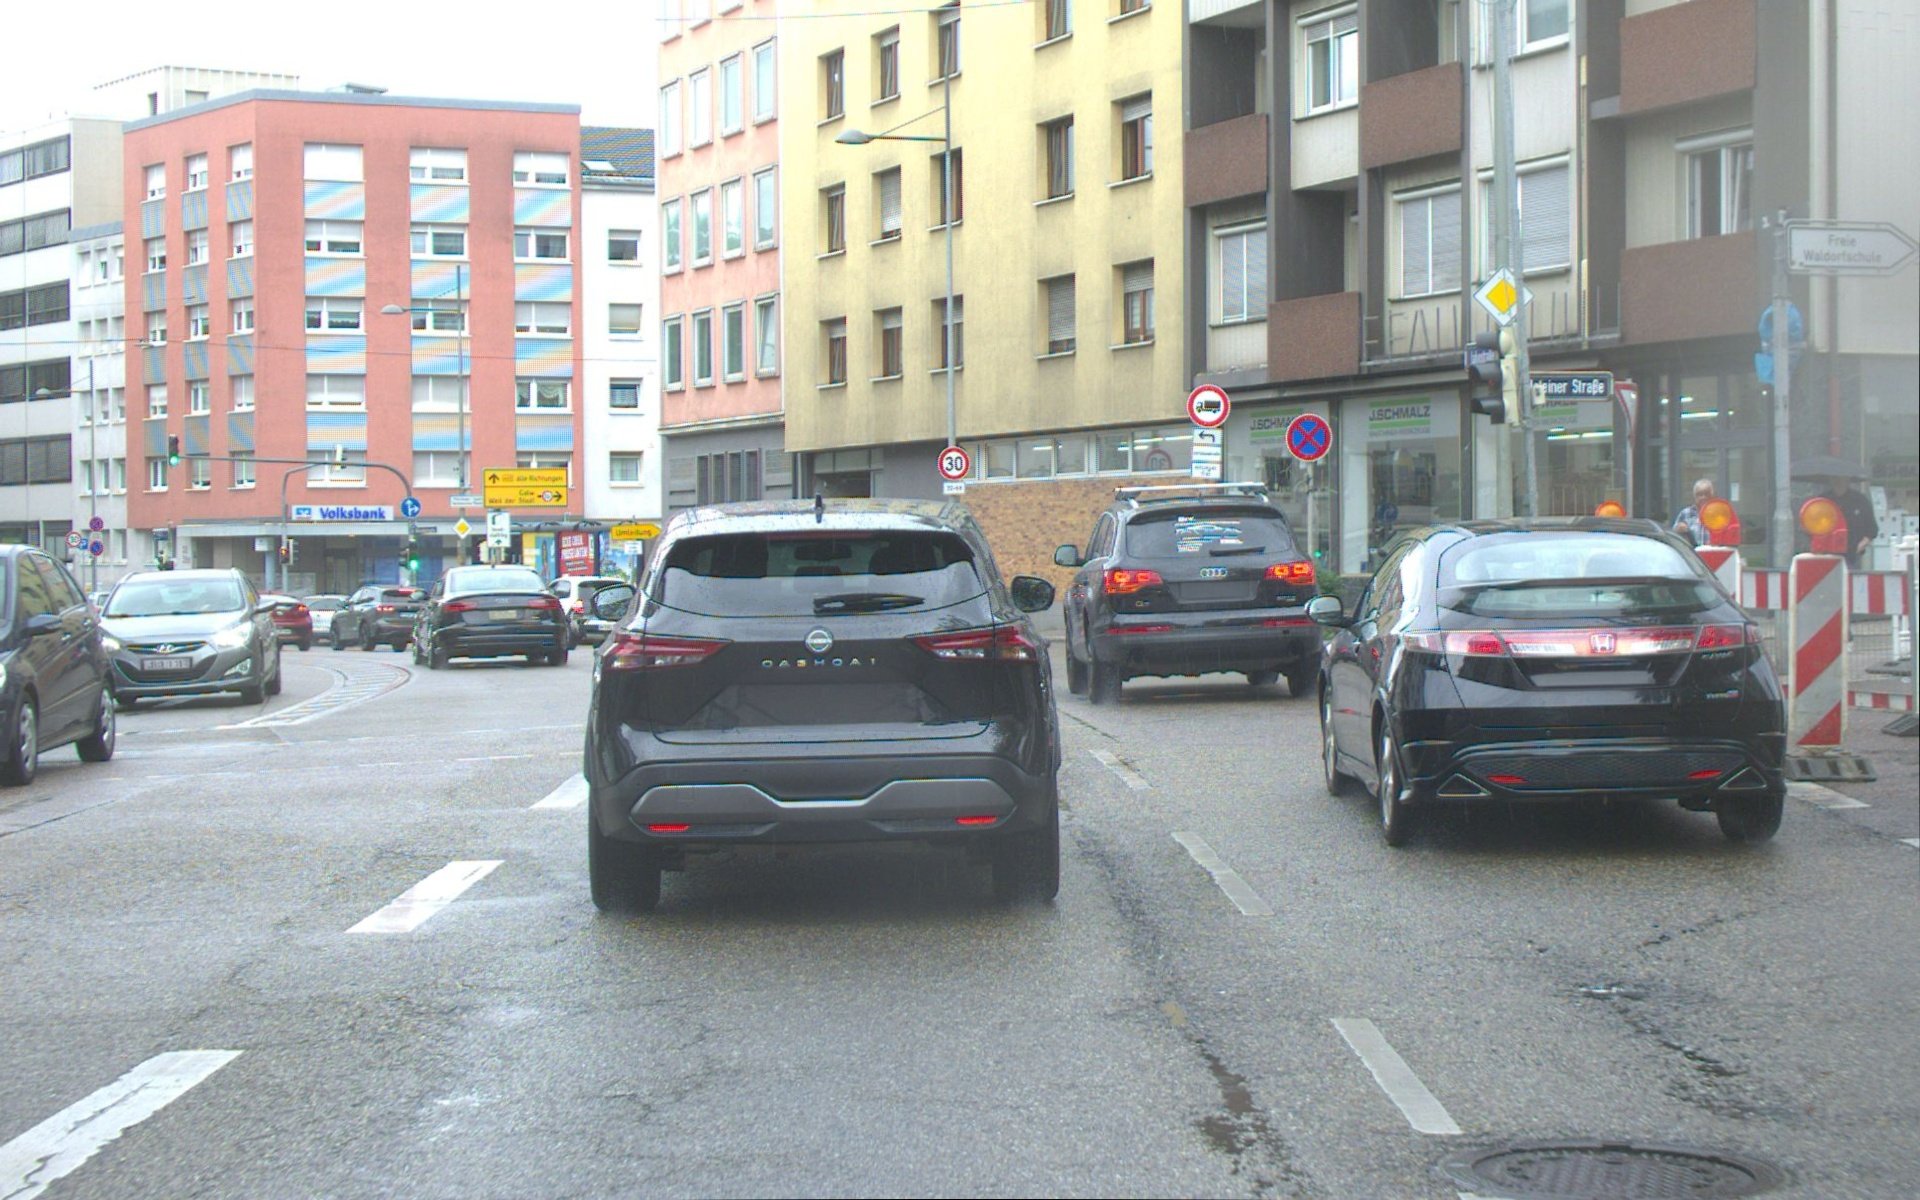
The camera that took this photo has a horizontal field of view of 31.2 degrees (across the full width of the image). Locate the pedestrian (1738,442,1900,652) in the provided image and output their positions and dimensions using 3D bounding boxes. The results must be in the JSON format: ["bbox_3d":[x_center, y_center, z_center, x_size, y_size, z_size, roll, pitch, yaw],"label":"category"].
[{"bbox_3d":[7.851,-0.477,31.428,0.917,1.855,1.031,-1,-1,-44],"label":"pedestrian"}]

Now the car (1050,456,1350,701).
[{"bbox_3d":[1.972,-0.158,29.781,2.021,1.863,4.899,-2,0,-2],"label":"car"}]

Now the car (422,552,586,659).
[{"bbox_3d":[-6.424,0.068,48.075,1.993,1.383,4.501,1,0,-11],"label":"car"}]

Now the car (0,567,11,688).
[{"bbox_3d":[-12.611,0.387,41.454,1.928,1.469,4.605,-3,1,-12],"label":"car"}]

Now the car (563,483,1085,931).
[{"bbox_3d":[-0.581,0.369,14.547,1.894,1.623,4.000,0,1,-2],"label":"car"}]

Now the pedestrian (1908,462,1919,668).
[{"bbox_3d":[9.270,-0.334,31.508,0.657,1.873,0.991,-3,-1,43],"label":"pedestrian"}]

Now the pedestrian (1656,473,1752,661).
[{"bbox_3d":[6.894,-0.297,31.857,0.792,1.682,0.821,-2,-1,13],"label":"pedestrian"}]

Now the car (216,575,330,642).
[{"bbox_3d":[-16.531,0.197,82.605,1.993,1.525,4.001,1,0,-21],"label":"car"}]

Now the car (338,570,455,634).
[{"bbox_3d":[-14.079,0.041,85.782,1.993,1.514,4.001,1,0,-22],"label":"car"}]

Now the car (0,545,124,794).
[{"bbox_3d":[-6.971,0.414,23.262,1.829,1.538,4.284,-1,1,-4],"label":"car"}]

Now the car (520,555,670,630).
[{"bbox_3d":[-7.641,-0.158,71.731,1.993,1.481,4.001,1,0,-23],"label":"car"}]

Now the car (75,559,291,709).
[{"bbox_3d":[-8.323,0.322,37.169,1.852,1.469,4.649,-2,1,-8],"label":"car"}]

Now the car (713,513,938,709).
[{"bbox_3d":[-1.342,0.074,32.878,1.945,1.679,4.001,-2,1,-4],"label":"car"}]

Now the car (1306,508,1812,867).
[{"bbox_3d":[2.725,0.315,16.514,1.784,1.491,4.057,0,2,1],"label":"car"}]
